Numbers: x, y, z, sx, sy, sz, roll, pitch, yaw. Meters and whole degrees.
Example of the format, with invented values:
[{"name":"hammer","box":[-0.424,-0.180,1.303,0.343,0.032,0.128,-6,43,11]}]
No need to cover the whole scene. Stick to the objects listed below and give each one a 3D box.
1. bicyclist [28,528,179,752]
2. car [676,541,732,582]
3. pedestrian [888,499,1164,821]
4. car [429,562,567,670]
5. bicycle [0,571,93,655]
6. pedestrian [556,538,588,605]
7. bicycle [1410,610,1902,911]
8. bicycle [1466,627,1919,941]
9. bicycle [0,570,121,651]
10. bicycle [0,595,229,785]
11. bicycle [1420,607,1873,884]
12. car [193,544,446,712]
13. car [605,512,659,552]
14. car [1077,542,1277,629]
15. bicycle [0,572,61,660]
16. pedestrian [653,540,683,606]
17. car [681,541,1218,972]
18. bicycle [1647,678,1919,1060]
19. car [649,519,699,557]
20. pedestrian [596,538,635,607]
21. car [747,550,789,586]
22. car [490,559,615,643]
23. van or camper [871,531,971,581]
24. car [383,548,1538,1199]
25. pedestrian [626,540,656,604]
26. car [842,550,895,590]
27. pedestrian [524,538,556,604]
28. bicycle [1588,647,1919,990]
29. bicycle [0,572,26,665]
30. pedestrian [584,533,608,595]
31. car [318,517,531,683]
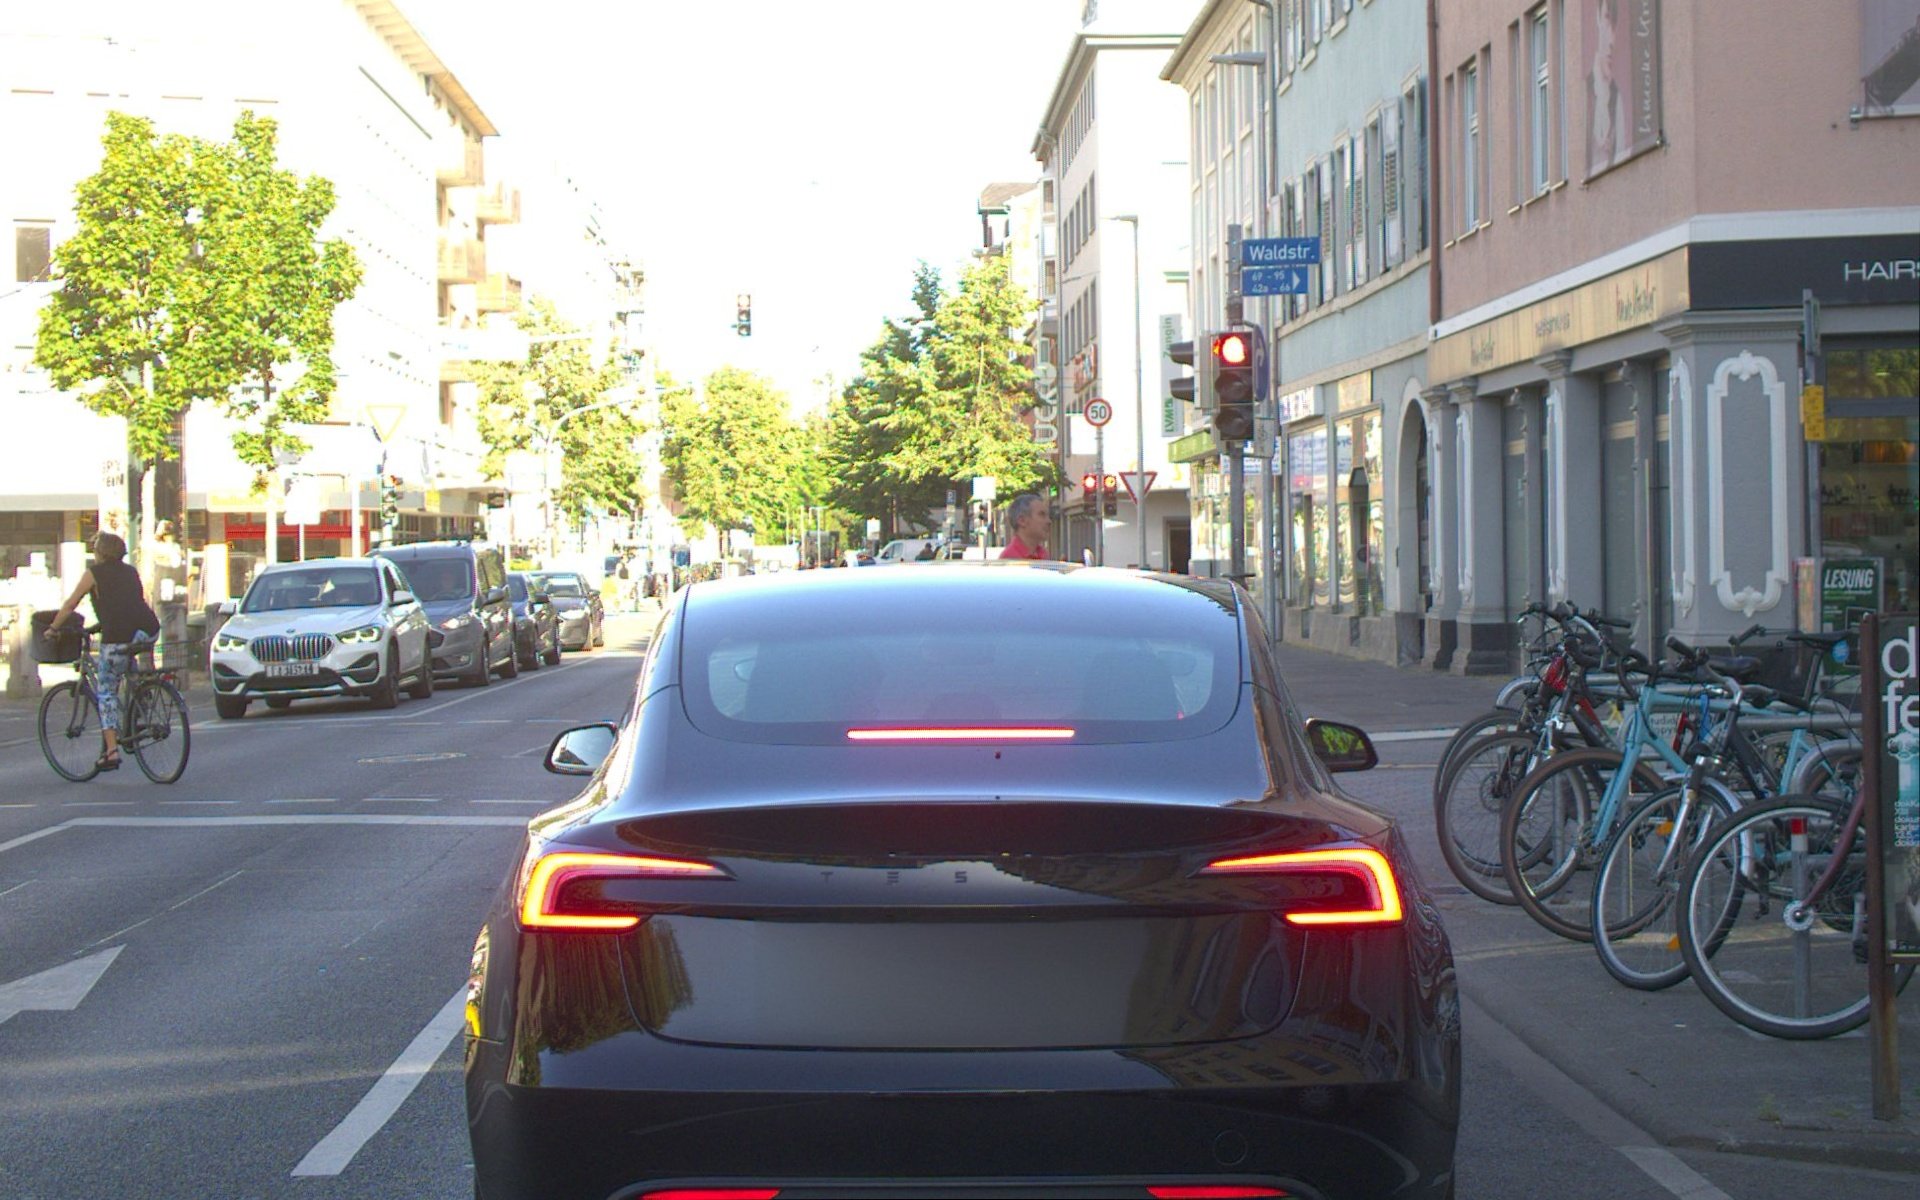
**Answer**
[{"name":"bicyclist","box":[-5.813,0.259,23.314,0.606,1.479,0.958,0,1,-41]},{"name":"car","box":[-12.383,-1.879,166.453,2.414,1.963,4.678,0,1,-1]},{"name":"pedestrian","box":[0.371,0.311,19.073,1.112,1.714,1.059,1,1,34]},{"name":"car","box":[-6.653,0.203,49.798,1.461,1.425,3.606,-4,1,-1]},{"name":"bicycle","box":[-14.532,0.188,52.142,2.542,1.247,0.943,1,0,-3]},{"name":"pedestrian","box":[-10.969,-0.807,97.215,0.732,1.861,0.791,1,0,-17]},{"name":"bicycle","box":[2.729,0.619,13.602,1.813,1.148,0.653,0,1,1]},{"name":"bicycle","box":[2.798,0.656,12.529,1.813,1.098,0.653,0,1,1]},{"name":"bicycle","box":[-14.693,0.161,54.567,2.542,1.247,0.943,1,0,-3]},{"name":"bicycle","box":[-5.745,0.618,23.239,0.628,1.219,1.999,-1,-1,-42]},{"name":"bicycle","box":[2.921,0.611,14.737,1.813,1.148,0.653,0,1,1]},{"name":"car","box":[-6.687,0.253,36.341,1.825,1.559,4.301,-4,1,-1]},{"name":"car","box":[-17.112,-3.546,179.643,2.275,2.007,4.717,1,1,1]},{"name":"car","box":[4.712,-0.328,74.675,3.992,1.861,1.698,0,1,-21]},{"name":"bicycle","box":[-14.487,0.215,49.867,2.662,1.255,0.943,1,0,-3]},{"name":"pedestrian","box":[-8.304,-0.776,97.853,0.774,1.861,1.009,1,0,-7]},{"name":"car","box":[-0.061,0.523,14.199,1.850,1.476,4.452,1,1,-1]},{"name":"bicycle","box":[3.024,0.759,10.051,1.882,1.040,0.653,-1,1,1]},{"name":"car","box":[-15.635,-3.366,188.283,2.275,2.007,4.717,1,1,1]},{"name":"pedestrian","box":[-9.469,-0.759,94.581,0.734,1.861,0.789,1,0,28]},{"name":"car","box":[-10.429,-1.752,187.135,2.132,1.963,4.134,0,1,-1]},{"name":"car","box":[-7.096,-0.002,60.213,1.693,1.385,3.916,1,1,0]},{"name":"van or camper","box":[-1.889,-2.143,167.549,4.850,2.430,1.851,0,1,-1]},{"name":"car","box":[-0.026,0.628,7.774,1.850,1.442,4.452,1,1,-1]},{"name":"pedestrian","box":[-9.371,-0.821,100.856,0.694,1.861,0.910,1,0,-16]},{"name":"car","box":[-4.124,-1.366,154.415,2.035,1.782,4.007,0,1,-7]},{"name":"pedestrian","box":[-11.841,-0.816,96.913,0.732,1.861,0.791,1,0,-17]},{"name":"bicycle","box":[2.998,0.692,11.122,1.813,1.056,0.653,0,1,1]},{"name":"bicycle","box":[-14.486,0.233,47.548,2.875,1.266,0.943,1,0,-3]},{"name":"pedestrian","box":[-10.990,-1.079,103.880,0.695,1.861,0.659,1,0,-5]},{"name":"car","box":[-6.572,-0.037,42.664,1.945,1.940,4.820,0,1,-1]}]
